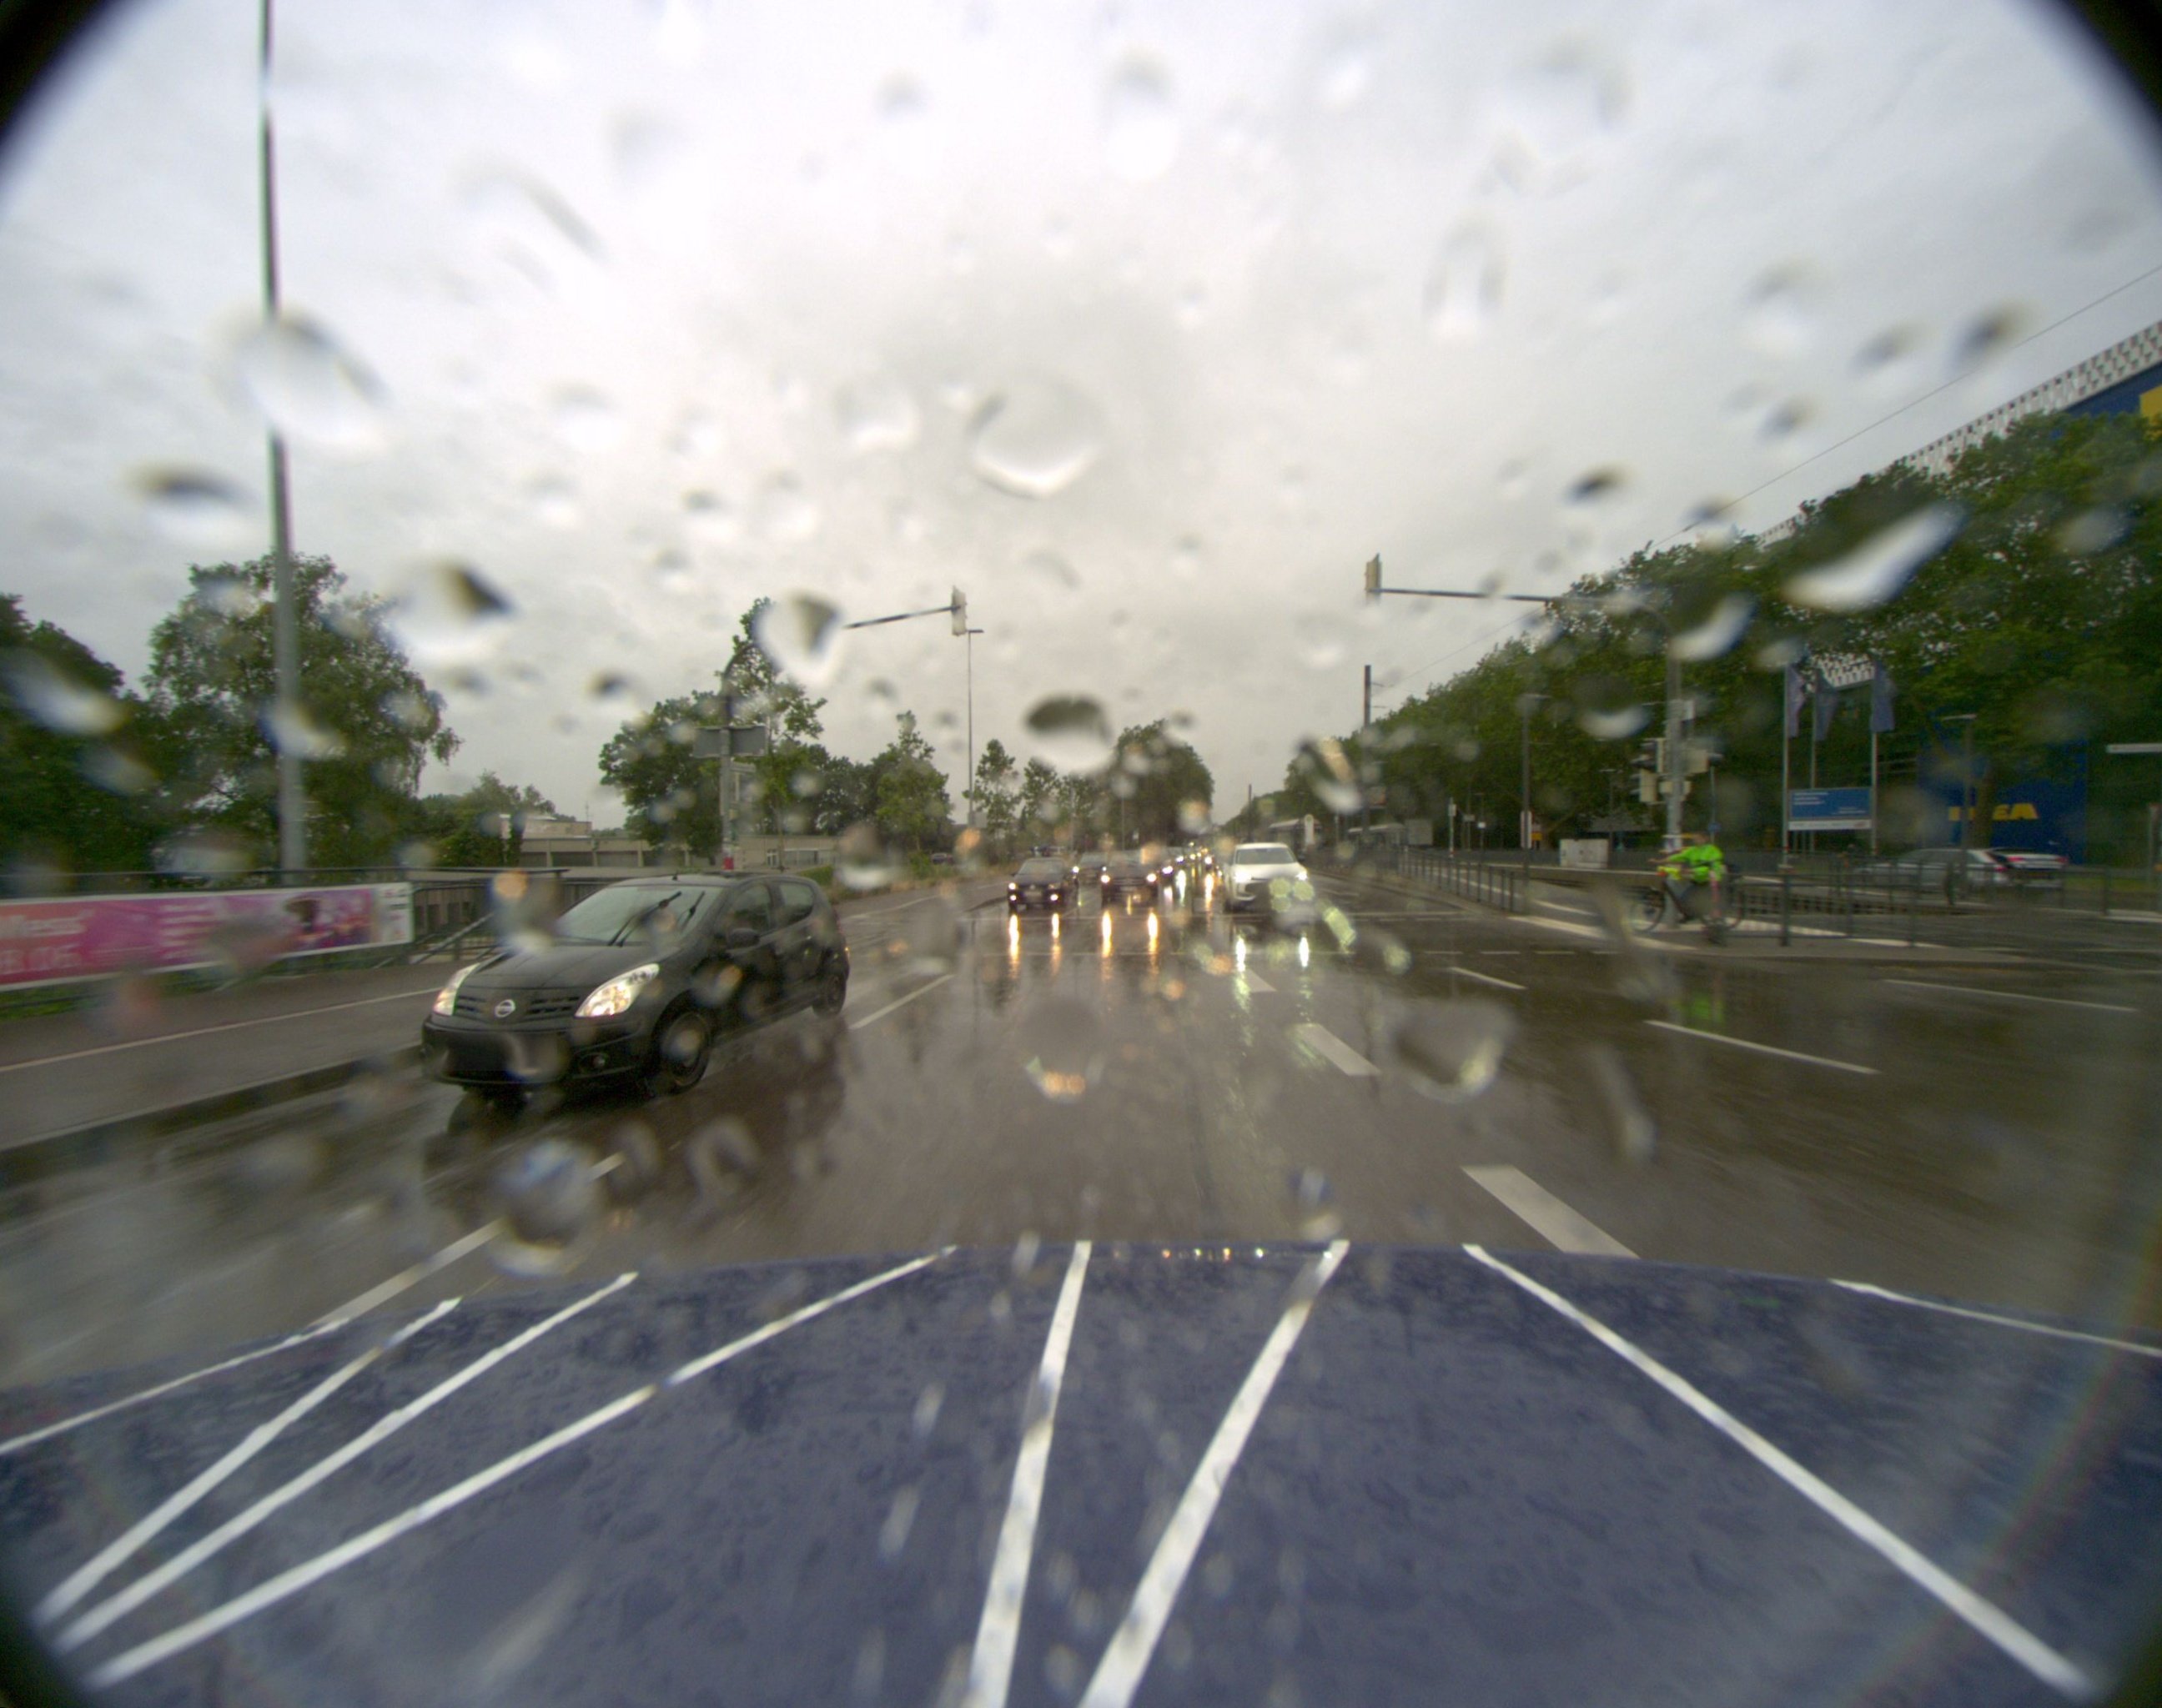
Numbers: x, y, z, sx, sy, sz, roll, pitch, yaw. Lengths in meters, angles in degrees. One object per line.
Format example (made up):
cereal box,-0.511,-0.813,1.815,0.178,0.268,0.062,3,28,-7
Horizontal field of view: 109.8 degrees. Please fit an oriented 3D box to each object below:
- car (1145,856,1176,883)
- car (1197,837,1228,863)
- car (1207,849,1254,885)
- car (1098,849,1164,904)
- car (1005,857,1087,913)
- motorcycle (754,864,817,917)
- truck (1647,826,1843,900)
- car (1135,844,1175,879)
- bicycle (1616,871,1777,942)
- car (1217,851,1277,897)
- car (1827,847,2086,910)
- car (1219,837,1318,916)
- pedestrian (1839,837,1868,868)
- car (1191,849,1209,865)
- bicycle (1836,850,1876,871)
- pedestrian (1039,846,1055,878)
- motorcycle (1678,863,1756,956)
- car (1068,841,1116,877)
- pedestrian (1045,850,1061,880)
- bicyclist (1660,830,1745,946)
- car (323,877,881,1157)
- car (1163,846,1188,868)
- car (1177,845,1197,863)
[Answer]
car,4.831,0.912,45.734,1.714,1.515,4.046,-2,-1,8
car,8.311,-0.229,48.202,1.714,1.515,4.046,-2,-1,8
car,6.675,0.521,34.340,1.751,1.466,4.699,-2,0,7
car,1.721,0.695,24.817,1.875,1.573,4.045,-2,-1,7
car,-0.949,0.877,22.831,1.714,1.476,4.046,-2,-1,8
motorcycle,-7.233,0.876,18.665,0.632,1.211,1.450,1,1,19
truck,30.465,0.229,35.539,2.745,2.833,9.097,-2,2,12
car,3.607,0.339,36.421,1.714,1.515,4.046,-2,-1,8
bicycle,9.620,0.811,11.928,1.869,1.002,0.670,-3,0,6
car,5.750,0.630,26.750,1.714,1.405,4.700,-2,0,8
car,25.243,0.658,22.321,1.997,1.558,5.367,-3,-1,10
car,4.771,0.506,19.957,1.993,1.778,4.555,-2,0,8
pedestrian,33.787,-0.055,33.246,0.579,1.327,0.686,-2,1,3
car,12.491,0.307,79.899,1.714,1.515,4.046,-2,-1,8
bicycle,33.794,0.290,33.156,0.574,0.852,1.176,-2,1,3
pedestrian,-1.717,0.404,38.531,0.733,1.602,0.618,0,2,7
motorcycle,9.046,0.756,10.853,0.527,1.214,1.404,-3,-1,28
car,0.584,0.237,36.079,1.714,1.515,4.046,-2,-1,8
pedestrian,-1.512,0.609,40.912,0.733,1.602,0.576,0,2,7
bicyclist,9.670,0.516,11.854,0.618,1.721,0.793,-3,0,5
car,-3.260,0.991,6.317,1.775,1.453,4.094,-2,-1,5
car,7.049,0.221,56.636,1.714,1.515,4.046,-2,-1,8
car,9.507,0.049,68.150,1.714,1.515,4.046,-2,-1,8
